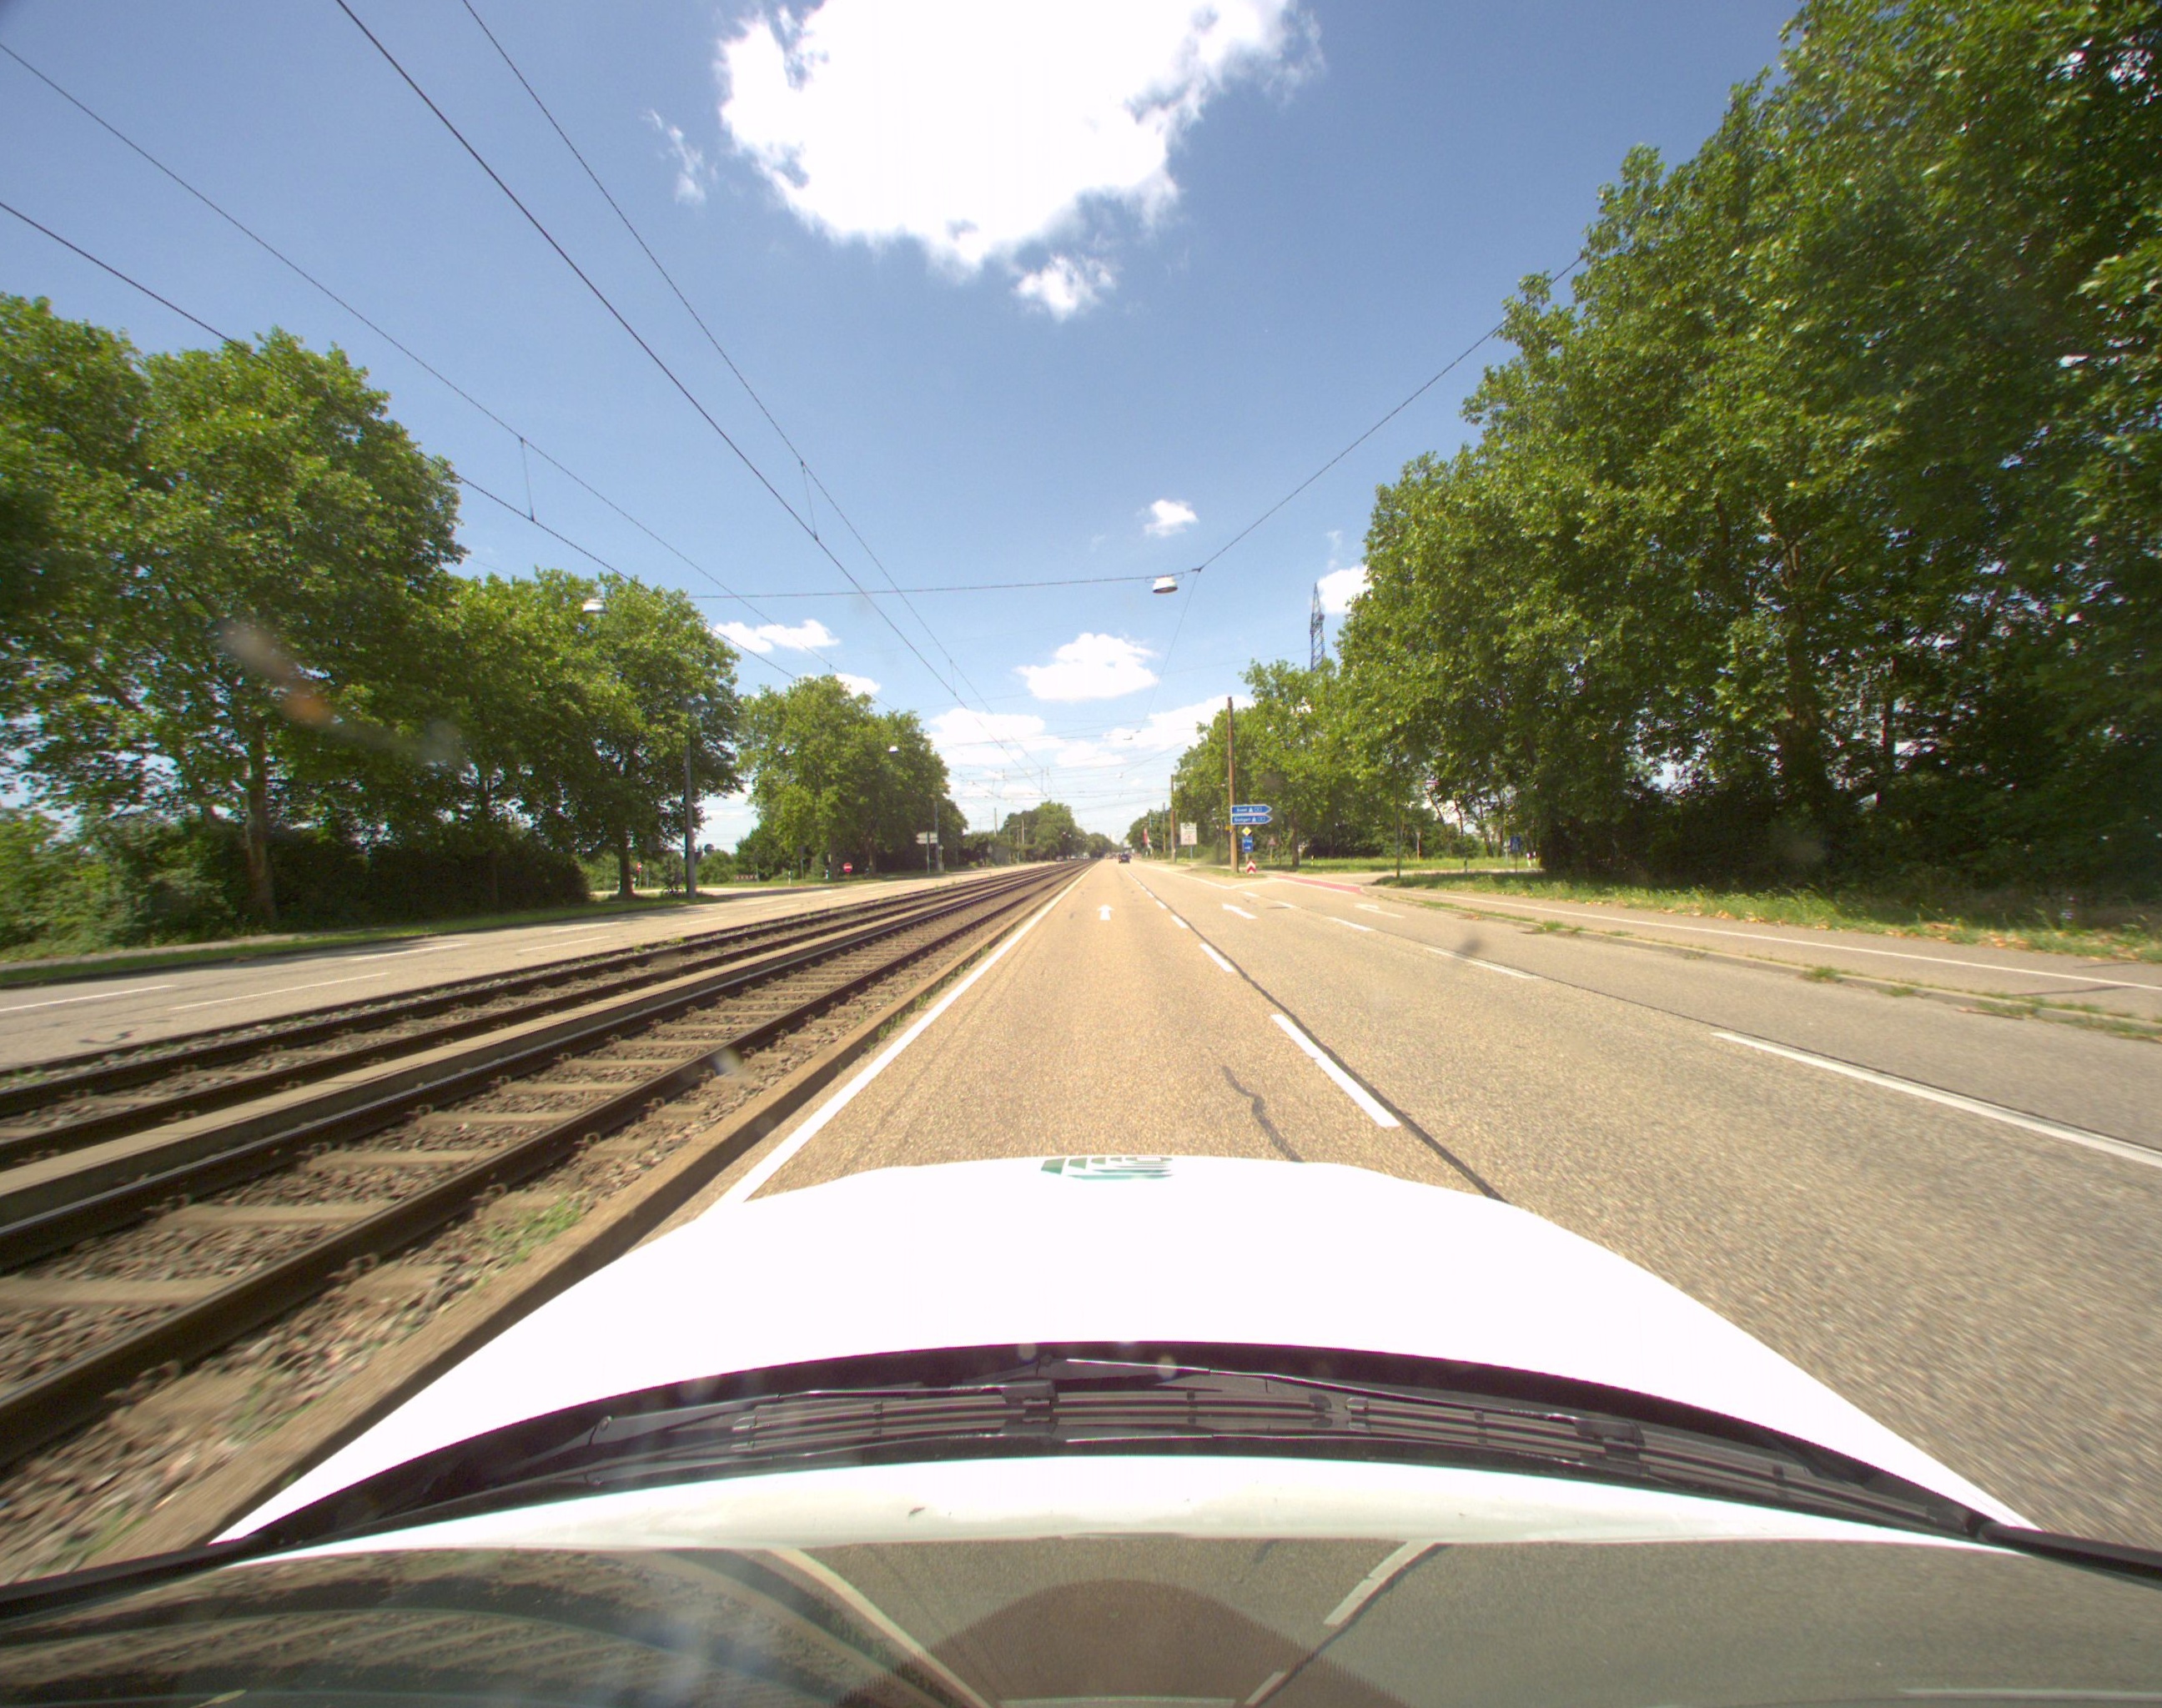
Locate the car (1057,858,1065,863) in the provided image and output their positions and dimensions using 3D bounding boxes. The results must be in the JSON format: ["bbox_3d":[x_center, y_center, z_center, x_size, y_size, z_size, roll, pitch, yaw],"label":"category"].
[{"bbox_3d":[-5.654,1.815,226.026,1.867,1.332,3.920,-3,0,2],"label":"car"}]

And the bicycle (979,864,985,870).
[{"bbox_3d":[-15.520,2.059,127.308,0.513,0.857,1.934,-2,0,5],"label":"bicycle"}]

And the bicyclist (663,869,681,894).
[{"bbox_3d":[-24.015,1.600,47.816,0.581,1.429,0.648,-2,0,14],"label":"bicyclist"}]

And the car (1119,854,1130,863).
[{"bbox_3d":[7.086,0.746,131.854,1.580,1.343,3.272,-2,1,0],"label":"car"}]

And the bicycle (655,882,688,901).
[{"bbox_3d":[-24.052,2.180,47.842,0.726,0.988,1.768,-2,0,14],"label":"bicycle"}]

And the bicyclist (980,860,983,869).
[{"bbox_3d":[-15.535,1.651,127.291,0.452,1.272,0.398,-2,0,4],"label":"bicyclist"}]
